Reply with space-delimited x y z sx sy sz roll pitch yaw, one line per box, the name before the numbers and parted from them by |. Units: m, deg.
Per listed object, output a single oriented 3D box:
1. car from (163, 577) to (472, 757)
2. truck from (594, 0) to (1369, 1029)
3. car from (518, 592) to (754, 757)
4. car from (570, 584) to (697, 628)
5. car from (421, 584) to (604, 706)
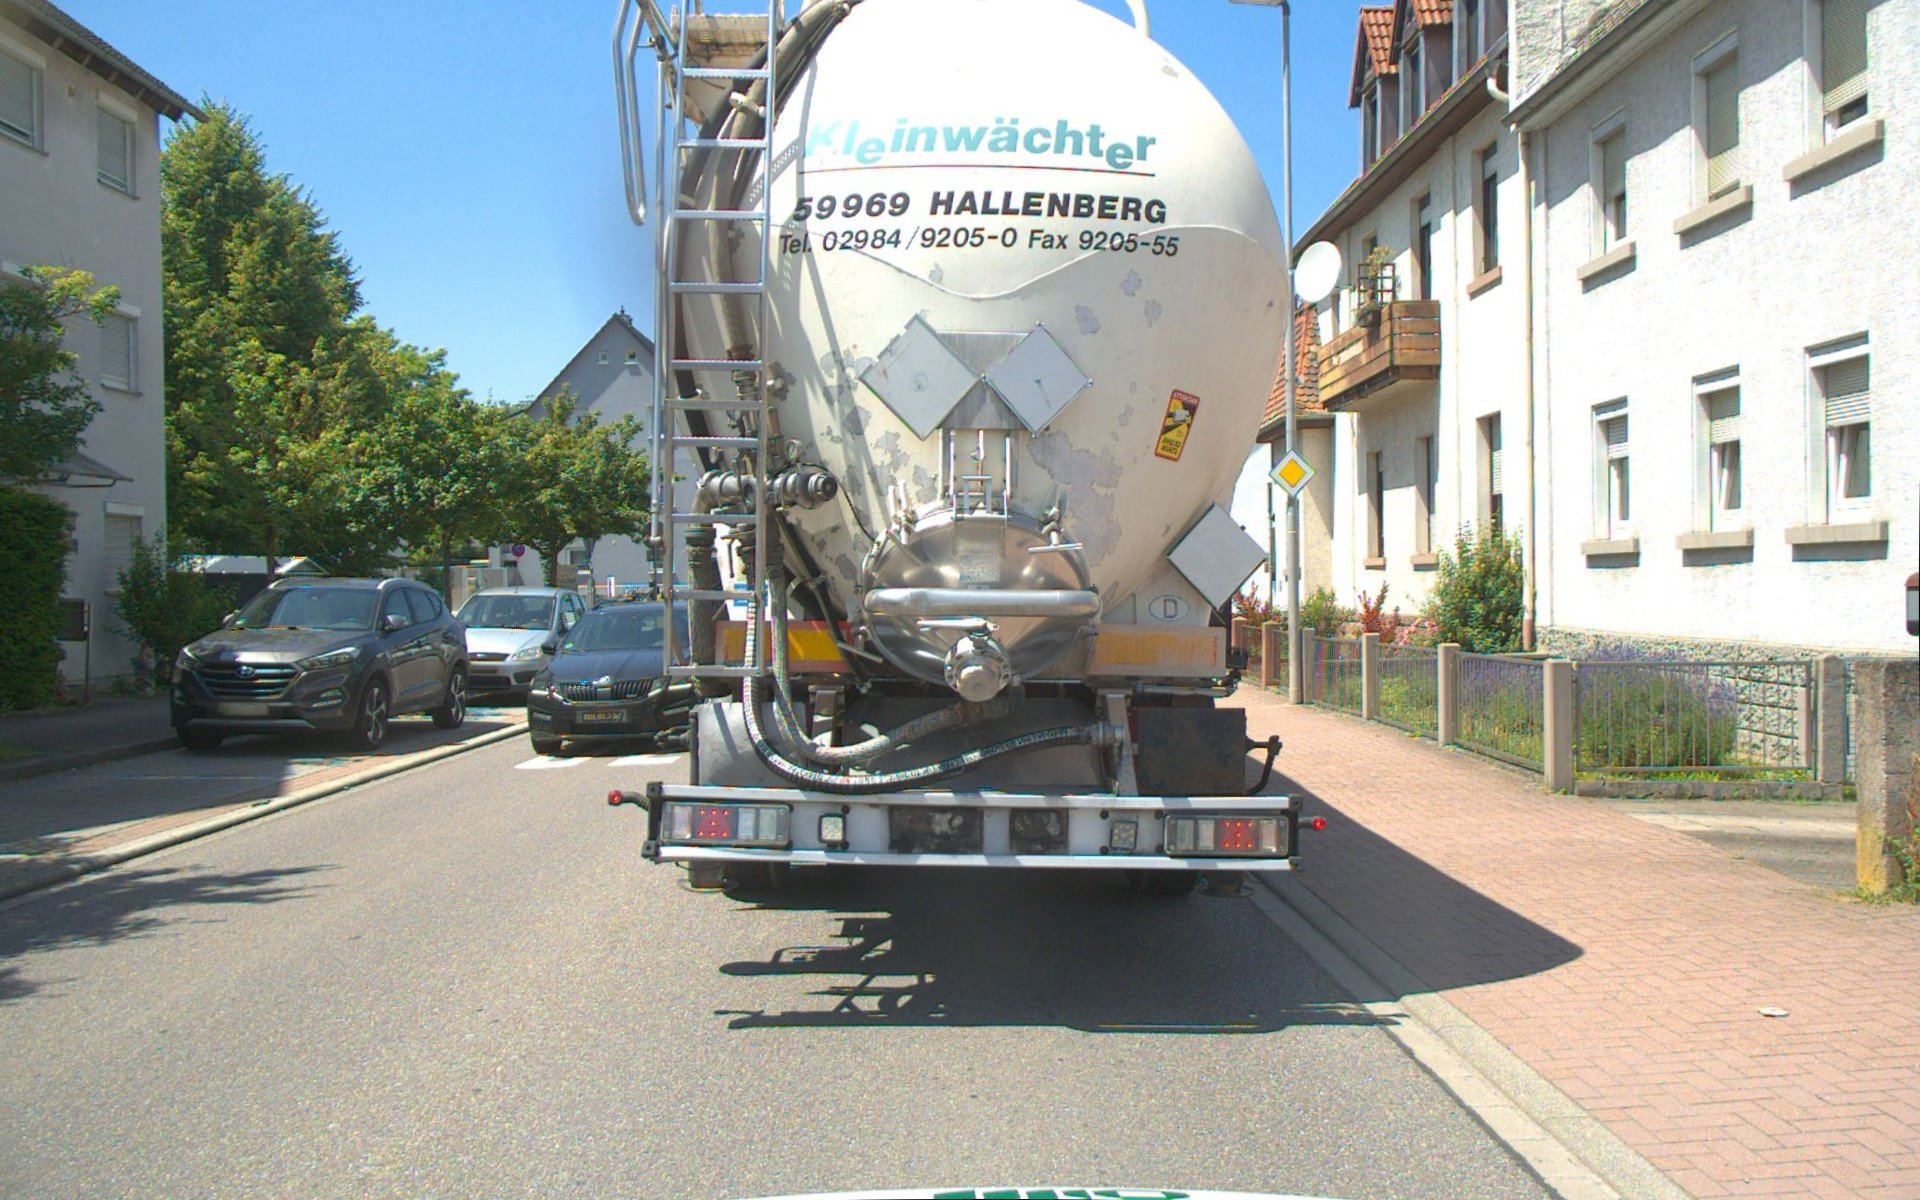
car | -6.469 0.601 17.127 1.657 1.648 3.997 0 0 0
truck | 0.028 -0.635 10.320 2.587 4.086 9.560 0 0 -1
car | -3.328 0.692 17.773 1.684 1.472 4.254 -2 1 -1
car | -12.682 0.231 64.375 4.526 1.680 1.742 0 0 7
car | -6.339 0.581 23.831 1.663 1.608 3.837 0 0 -2
